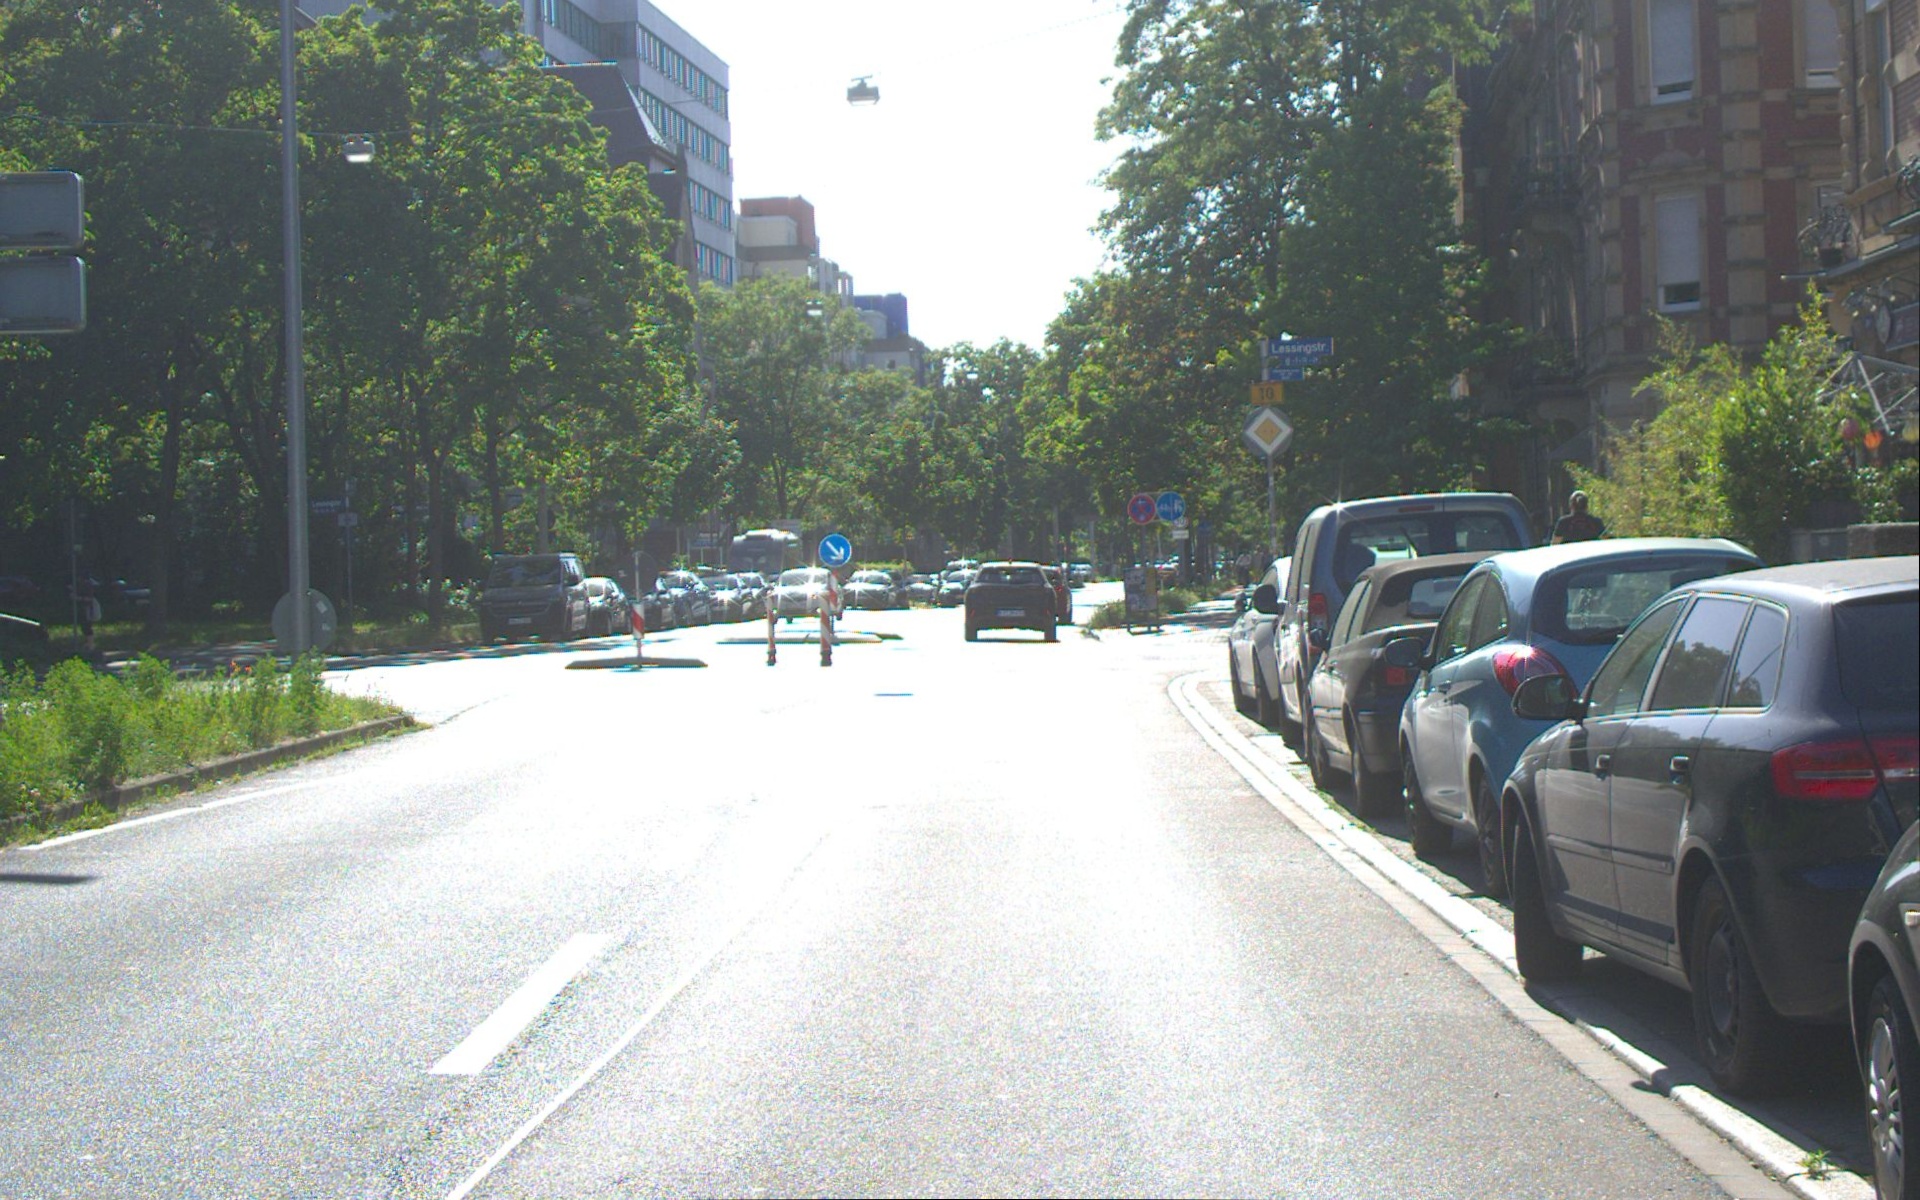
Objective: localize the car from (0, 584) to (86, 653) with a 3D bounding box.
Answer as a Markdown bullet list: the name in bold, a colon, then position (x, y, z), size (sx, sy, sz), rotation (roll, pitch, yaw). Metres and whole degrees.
- **car**: position (-23.835, 0.454, 87.556), size (1.975, 1.656, 4.000), rotation (-2, 1, -30)

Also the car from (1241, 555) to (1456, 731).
- **car**: position (3.365, 0.328, 30.372), size (1.710, 1.420, 4.205), rotation (0, 1, 4)

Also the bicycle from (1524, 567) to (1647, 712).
- **bicycle**: position (5.595, 0.334, 30.825), size (0.741, 1.215, 1.960), rotation (-4, 0, 2)

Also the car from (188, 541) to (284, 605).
- **car**: position (-19.521, -0.729, 92.549), size (1.974, 1.656, 4.001), rotation (-2, 1, -19)

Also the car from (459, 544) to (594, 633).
- **car**: position (-9.866, -0.292, 78.640), size (2.199, 1.923, 4.862), rotation (-1, 1, 3)

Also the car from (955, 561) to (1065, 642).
- **car**: position (0.945, 0.006, 66.943), size (1.894, 1.514, 4.000), rotation (1, 1, -2)

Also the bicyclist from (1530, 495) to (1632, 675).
- **bicyclist**: position (5.555, -0.151, 30.789), size (0.741, 1.575, 1.100), rotation (0, 2, 2)

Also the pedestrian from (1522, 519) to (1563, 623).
- **pedestrian**: position (10.307, -0.508, 60.854), size (0.656, 1.810, 0.751), rotation (-1, -2, 6)

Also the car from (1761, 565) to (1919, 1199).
- **car**: position (2.688, 0.634, 5.877), size (1.668, 1.389, 3.775), rotation (-2, 1, -1)

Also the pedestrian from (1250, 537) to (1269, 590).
- **pedestrian**: position (11.504, -1.404, 132.007), size (0.614, 2.007, 0.681), rotation (-1, 1, 1)

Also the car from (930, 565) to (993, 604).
- **car**: position (0.076, -0.569, 131.331), size (1.785, 1.455, 4.414), rotation (-1, 0, 8)

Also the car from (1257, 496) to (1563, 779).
- **car**: position (3.193, 0.209, 25.150), size (1.819, 1.837, 4.364), rotation (-2, 1, 3)

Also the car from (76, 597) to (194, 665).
- **car**: position (-21.778, 0.794, 90.666), size (1.975, 1.656, 4.000), rotation (-2, 1, -29)

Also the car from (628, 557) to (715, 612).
- **car**: position (-7.971, -0.444, 95.146), size (1.524, 1.427, 3.552), rotation (-1, 1, 10)

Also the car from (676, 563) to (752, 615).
- **car**: position (-7.140, -0.344, 100.037), size (1.524, 1.427, 3.336), rotation (-1, 1, 8)

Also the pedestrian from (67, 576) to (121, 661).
- **pedestrian**: position (-16.721, 0.352, 66.403), size (0.669, 1.621, 0.714), rotation (-1, 1, 34)

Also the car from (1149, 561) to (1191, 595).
- **car**: position (10.660, -1.129, 174.414), size (1.921, 1.634, 3.999), rotation (-2, 1, 6)

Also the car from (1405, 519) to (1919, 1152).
- **car**: position (2.694, 0.526, 10.667), size (1.935, 1.514, 4.484), rotation (-2, 1, -1)

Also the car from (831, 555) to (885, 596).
- **car**: position (-3.906, -0.951, 132.559), size (1.802, 1.499, 3.807), rotation (-1, 1, 2)

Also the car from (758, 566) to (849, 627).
- **car**: position (-4.304, -0.115, 94.920), size (1.759, 1.514, 3.858), rotation (-2, 1, 8)

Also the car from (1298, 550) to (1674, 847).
- **car**: position (2.918, 0.479, 19.852), size (1.668, 1.463, 4.274), rotation (-2, 1, 3)

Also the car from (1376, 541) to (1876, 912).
- **car**: position (2.959, 0.498, 15.894), size (1.621, 1.465, 3.299), rotation (-2, 1, 0)
